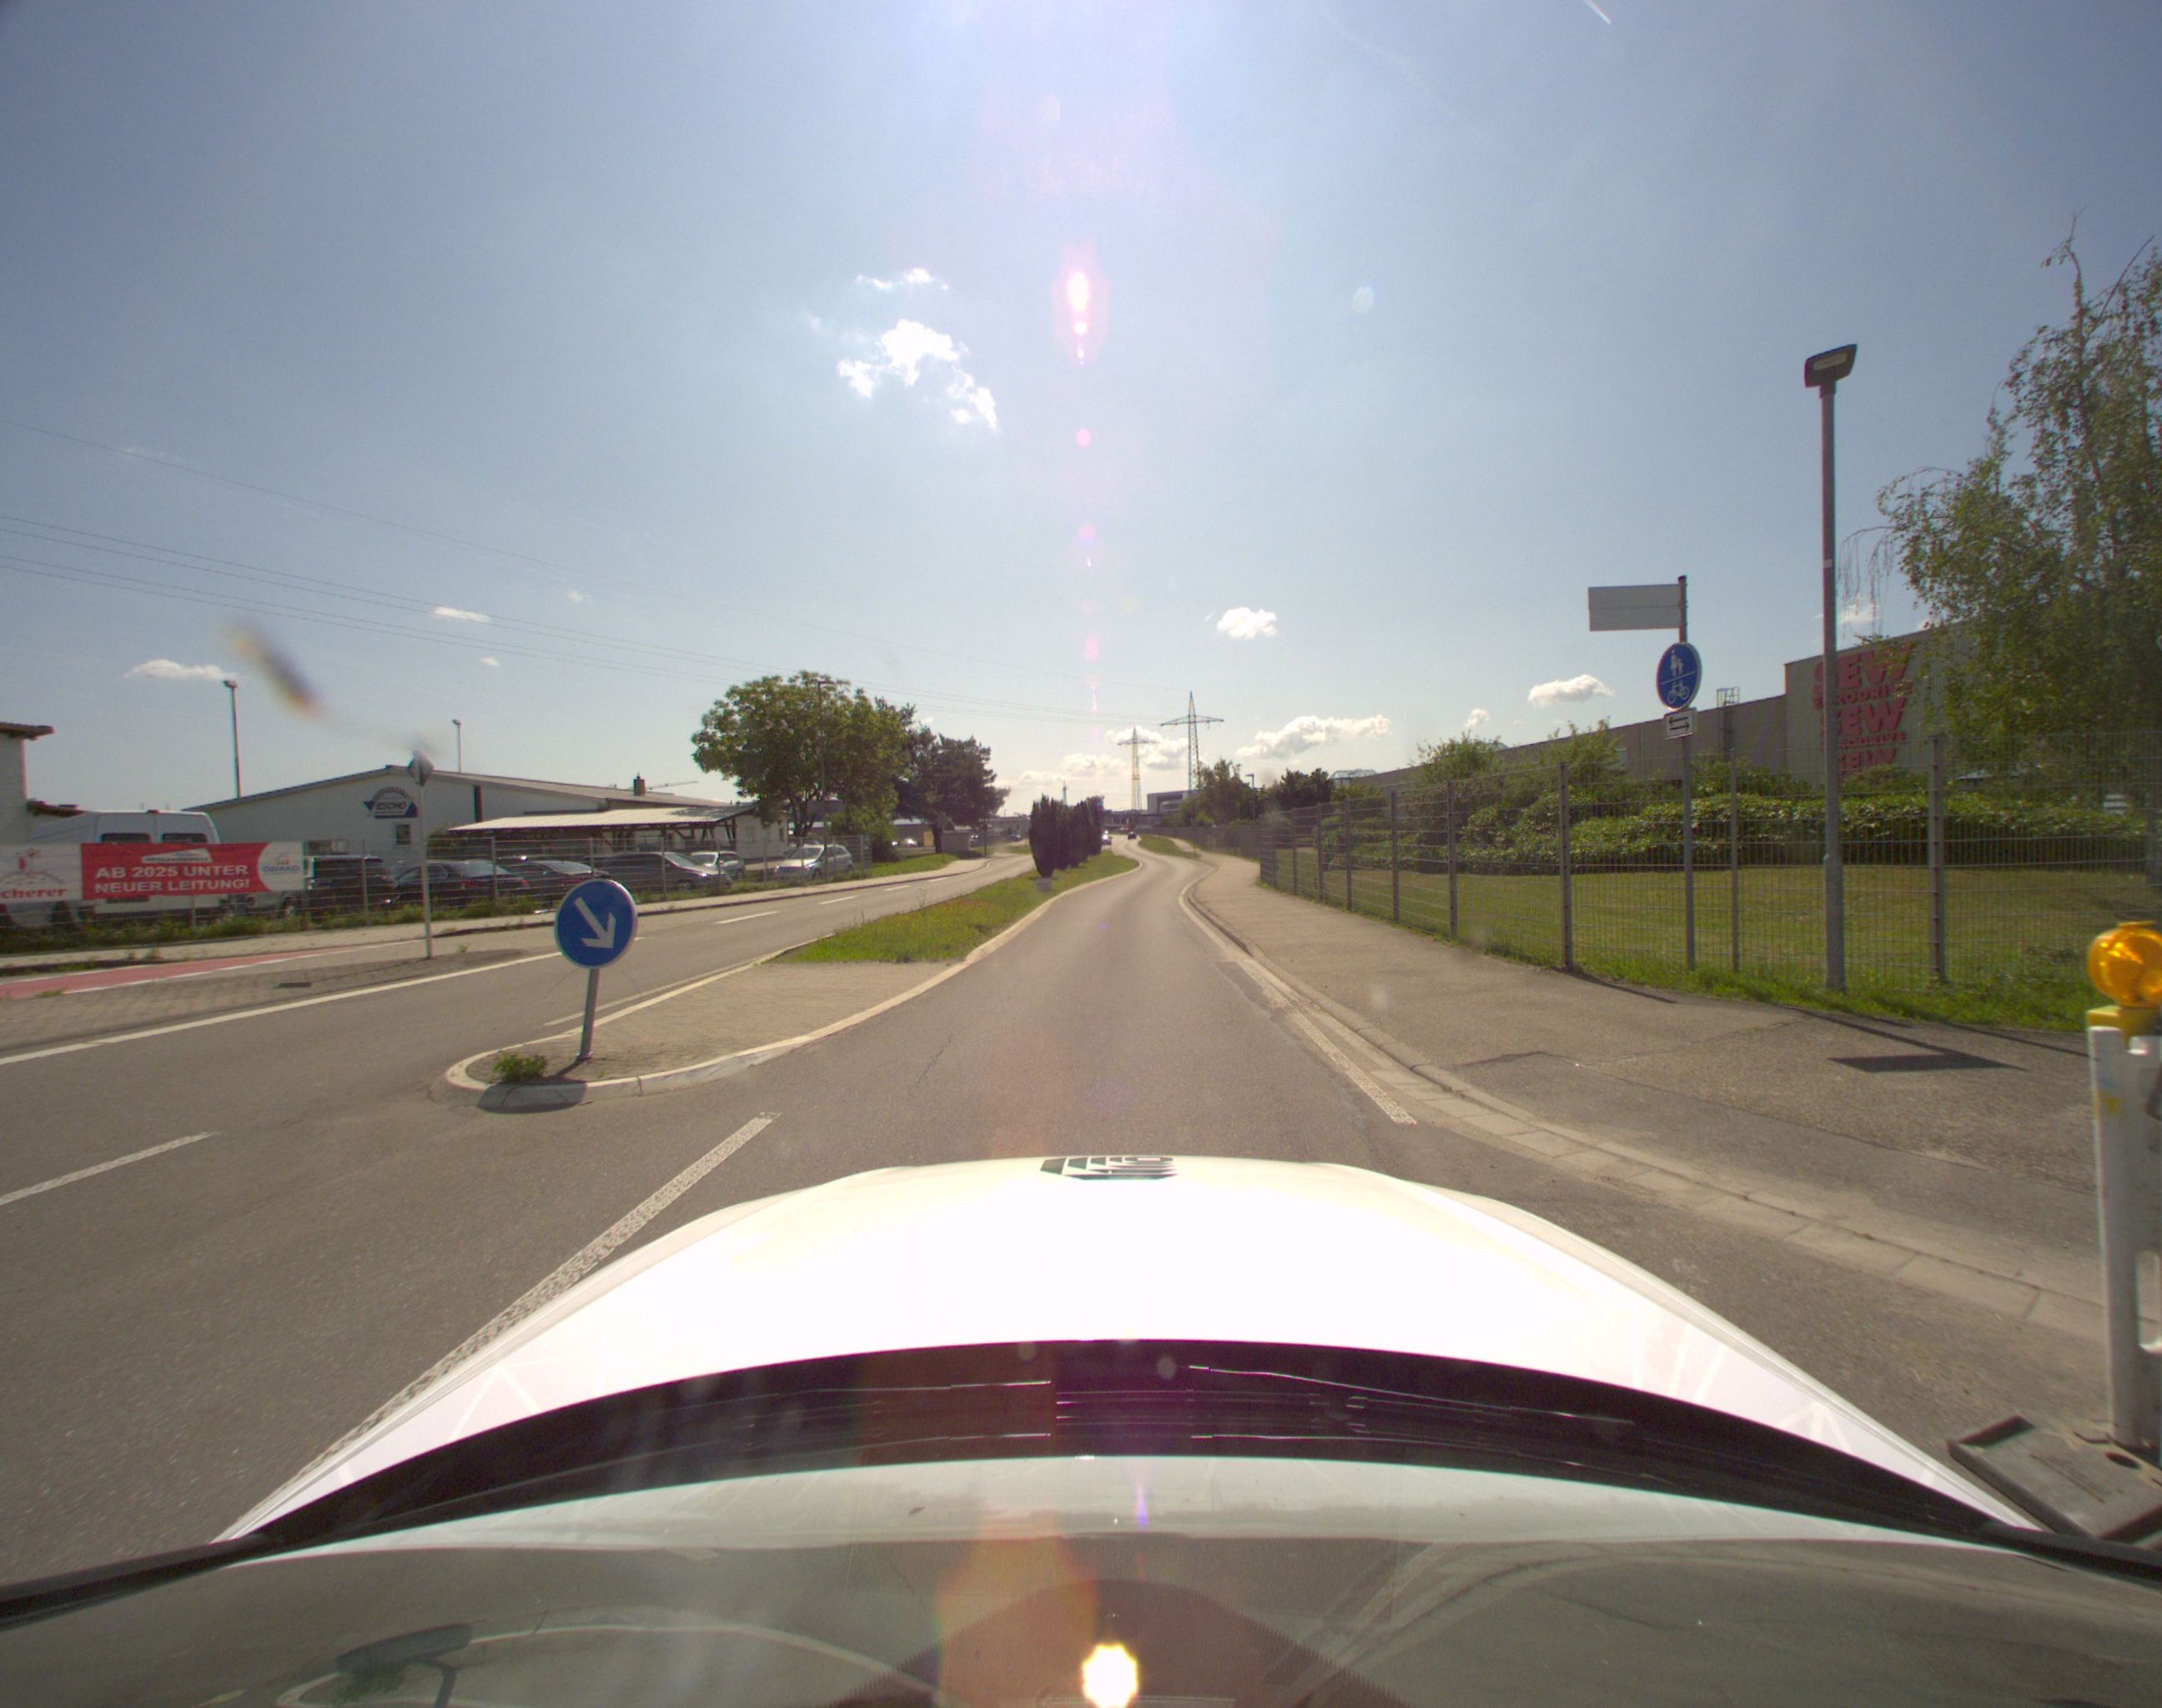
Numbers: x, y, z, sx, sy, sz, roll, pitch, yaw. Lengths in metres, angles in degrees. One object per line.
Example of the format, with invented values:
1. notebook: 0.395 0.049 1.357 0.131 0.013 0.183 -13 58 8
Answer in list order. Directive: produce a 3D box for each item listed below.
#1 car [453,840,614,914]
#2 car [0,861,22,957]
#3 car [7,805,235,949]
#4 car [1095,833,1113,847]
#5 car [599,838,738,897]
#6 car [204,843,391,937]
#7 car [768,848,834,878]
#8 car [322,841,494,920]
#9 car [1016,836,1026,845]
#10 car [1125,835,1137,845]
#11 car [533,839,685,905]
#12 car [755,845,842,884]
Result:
1. car: -15.620 0.607 23.263 3.950 1.903 2.012 0 2 25
2. car: -20.983 0.998 14.417 3.949 1.653 2.012 0 2 28
3. car: -19.526 0.458 16.555 4.310 2.608 2.012 -2 -1 27
4. car: 3.475 -2.158 123.106 2.482 2.013 4.666 -1 2 0
5. car: -14.111 0.433 27.895 3.954 1.903 2.010 0 2 20
6. car: -17.949 0.738 18.644 3.949 1.903 2.013 0 2 30
7. car: -18.956 0.599 55.380 3.990 1.850 1.827 -2 0 -13
8. car: -16.894 0.593 20.440 3.949 1.780 2.013 0 2 30
9. car: -15.176 -3.397 206.200 1.986 2.013 4.002 -2 0 2
10. car: 10.535 -2.861 170.845 2.264 1.947 4.665 2 -1 1
11. car: -14.684 0.522 25.377 3.952 1.903 2.011 0 2 22
12. car: -12.014 0.417 34.857 1.816 1.517 3.601 -2 0 13
